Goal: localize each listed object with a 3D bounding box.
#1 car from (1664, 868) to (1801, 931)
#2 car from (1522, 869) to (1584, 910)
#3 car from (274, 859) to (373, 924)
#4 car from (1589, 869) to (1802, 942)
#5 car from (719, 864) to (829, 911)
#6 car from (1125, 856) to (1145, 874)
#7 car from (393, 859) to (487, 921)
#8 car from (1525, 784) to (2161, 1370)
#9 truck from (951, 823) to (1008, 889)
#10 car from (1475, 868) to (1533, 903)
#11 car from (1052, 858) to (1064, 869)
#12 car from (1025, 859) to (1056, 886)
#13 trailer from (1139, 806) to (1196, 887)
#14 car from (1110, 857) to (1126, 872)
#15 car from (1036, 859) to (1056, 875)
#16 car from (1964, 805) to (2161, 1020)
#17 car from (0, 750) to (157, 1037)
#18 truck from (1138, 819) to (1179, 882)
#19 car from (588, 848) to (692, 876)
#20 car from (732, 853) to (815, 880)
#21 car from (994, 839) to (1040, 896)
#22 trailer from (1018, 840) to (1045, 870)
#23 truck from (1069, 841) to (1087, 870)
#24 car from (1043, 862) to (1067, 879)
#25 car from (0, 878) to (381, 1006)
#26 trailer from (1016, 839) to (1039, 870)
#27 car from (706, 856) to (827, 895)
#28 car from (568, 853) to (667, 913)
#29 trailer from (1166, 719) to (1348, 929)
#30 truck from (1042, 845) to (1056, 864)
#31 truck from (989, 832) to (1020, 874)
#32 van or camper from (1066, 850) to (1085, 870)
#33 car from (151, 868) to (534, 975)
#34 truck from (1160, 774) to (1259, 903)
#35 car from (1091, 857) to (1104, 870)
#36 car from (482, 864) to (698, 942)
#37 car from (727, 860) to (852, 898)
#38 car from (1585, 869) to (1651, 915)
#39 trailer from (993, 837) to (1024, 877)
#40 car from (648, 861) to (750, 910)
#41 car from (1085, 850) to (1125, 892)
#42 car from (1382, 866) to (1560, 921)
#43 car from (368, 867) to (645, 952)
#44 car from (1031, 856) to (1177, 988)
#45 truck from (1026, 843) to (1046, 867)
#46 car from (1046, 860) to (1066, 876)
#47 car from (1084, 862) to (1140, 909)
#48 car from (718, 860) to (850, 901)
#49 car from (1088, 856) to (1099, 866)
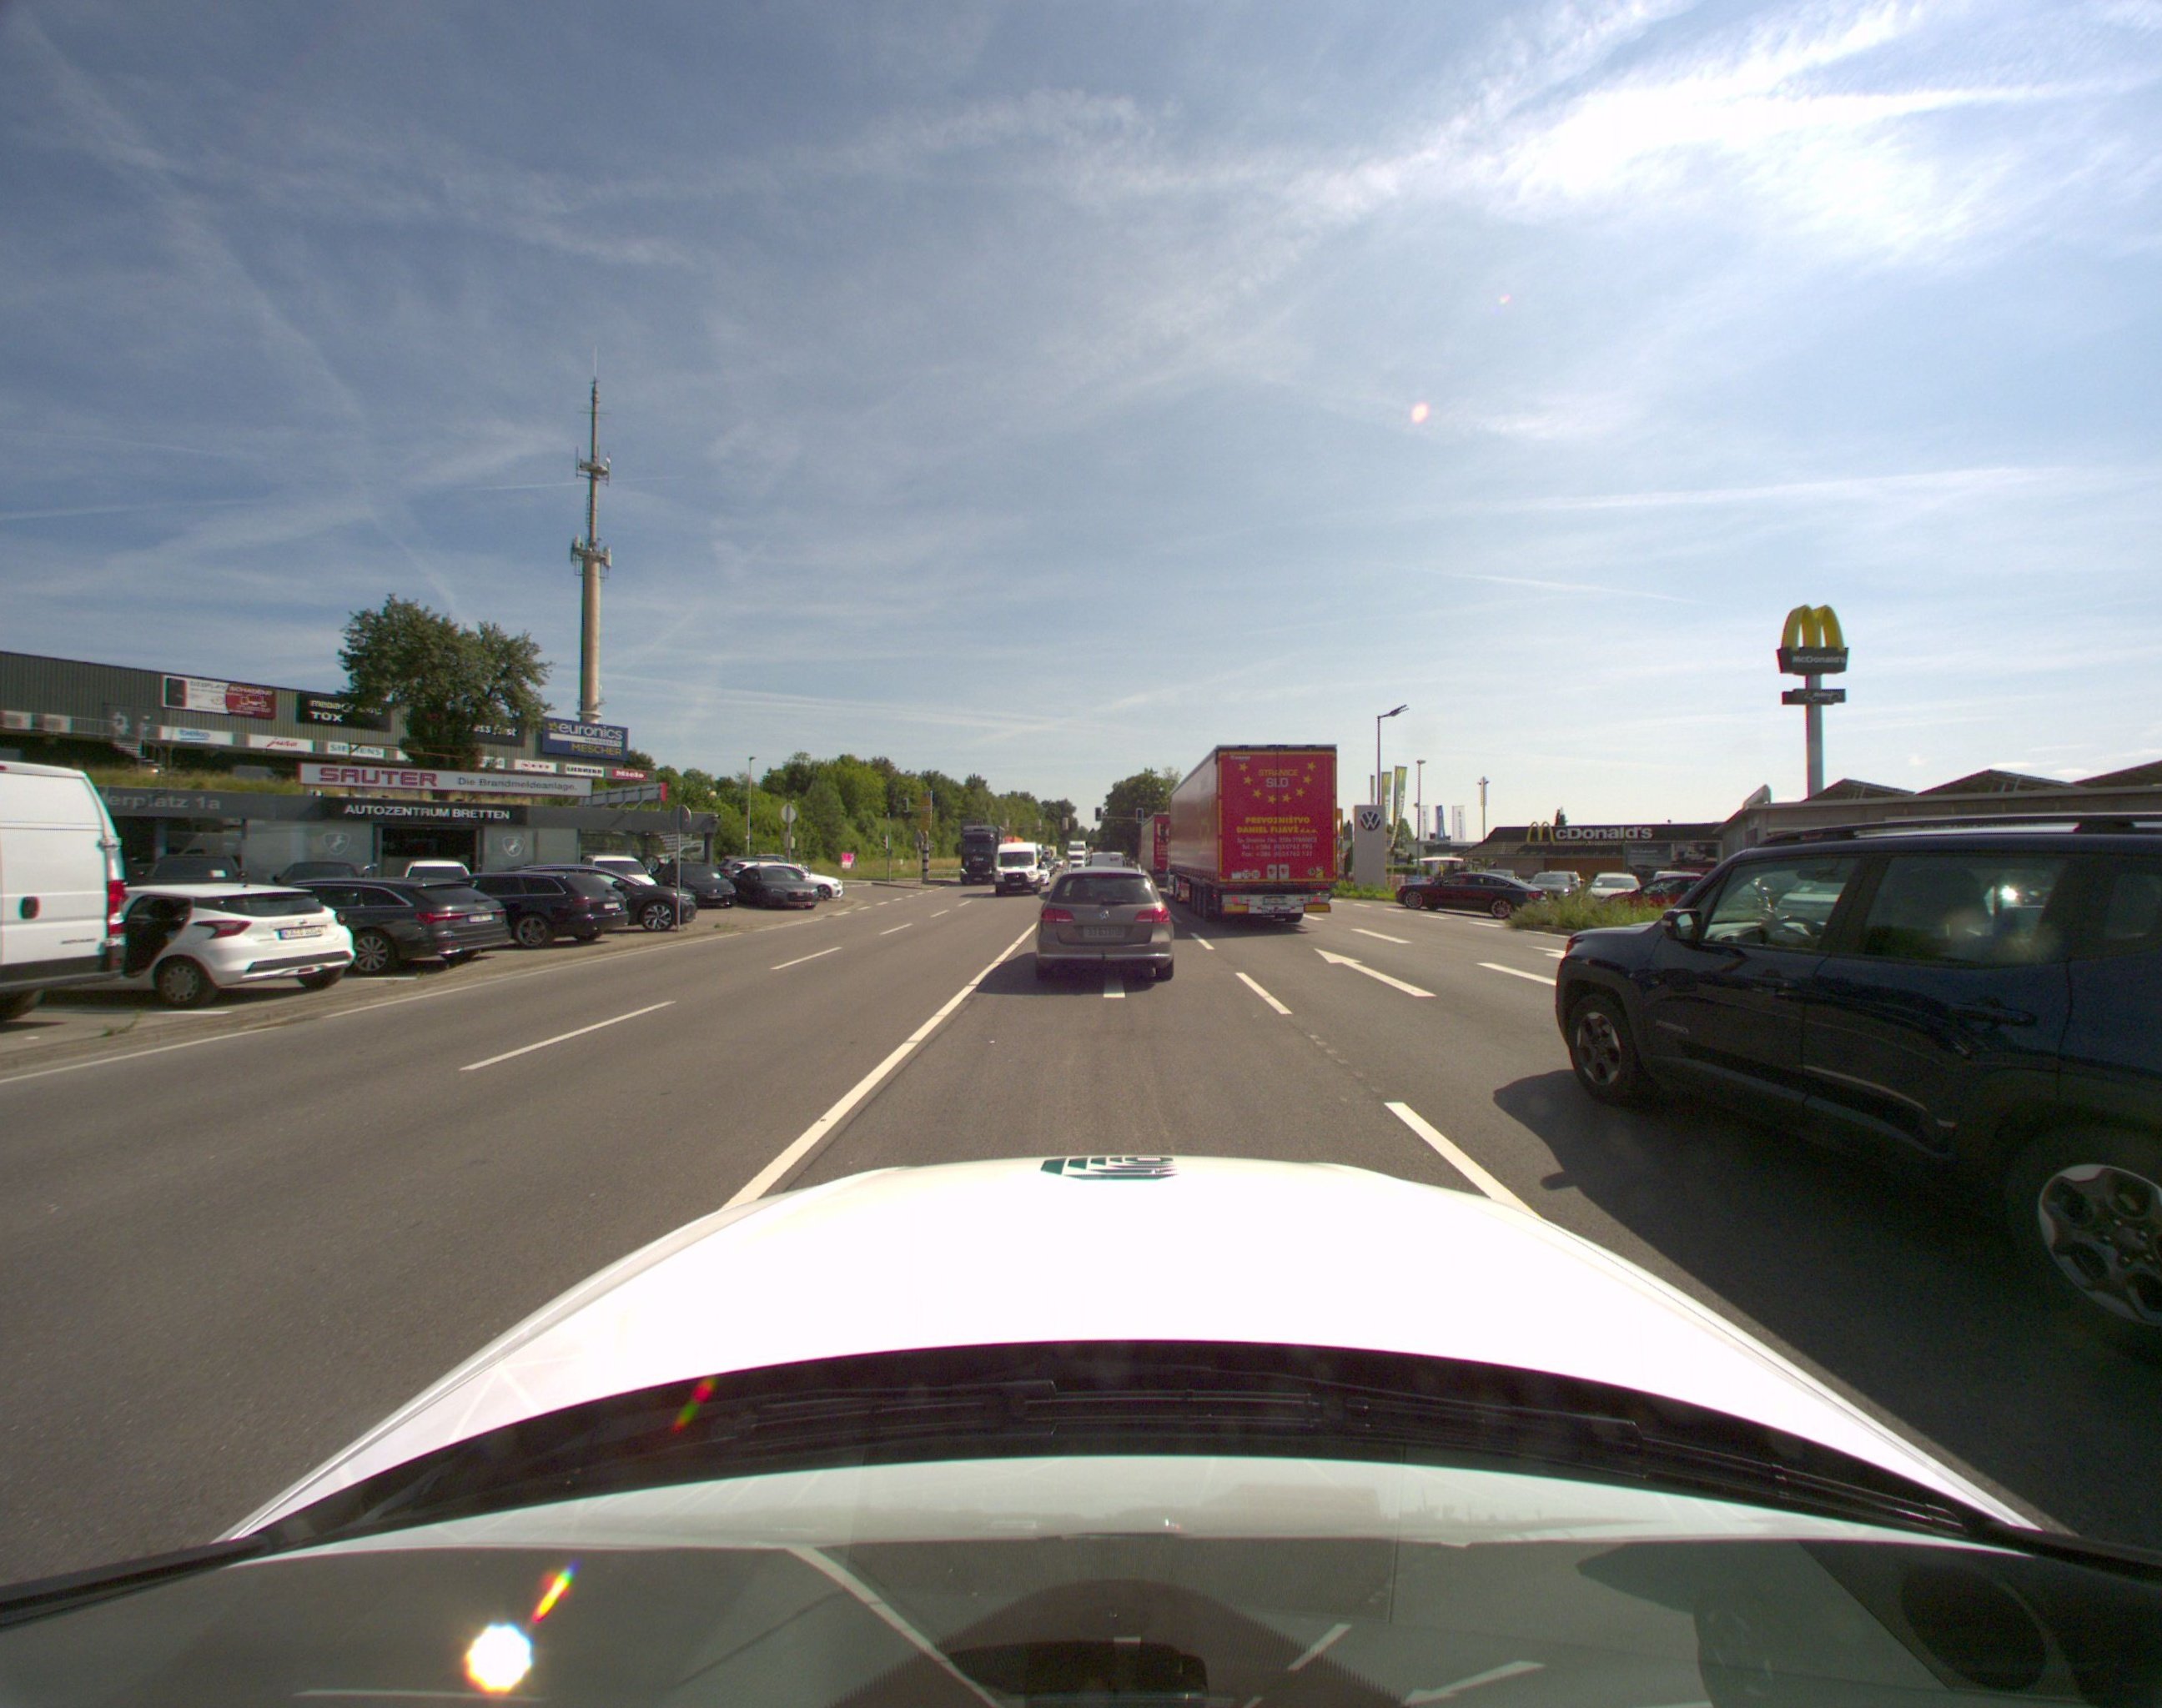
[{"bbox_3d":[19.247,1.269,24.050,4.036,1.671,1.759,0,-1,-29],"label":"car"},{"bbox_3d":[20.041,1.452,34.483,1.753,1.532,4.116,-1,-1,37],"label":"car"},{"bbox_3d":[-20.588,0.943,22.227,1.826,1.524,4.293,1,0,-42],"label":"car"},{"bbox_3d":[15.654,1.244,21.010,1.778,1.654,4.044,2,-2,-24],"label":"car"},{"bbox_3d":[-11.189,1.153,29.513,4.584,1.436,1.985,1,0,45],"label":"car"},{"bbox_3d":[6.338,1.278,95.792,1.987,2.014,3.998,-1,-1,-1],"label":"car"},{"bbox_3d":[-18.591,0.971,23.544,1.837,1.524,4.094,1,0,-42],"label":"car"},{"bbox_3d":[3.971,0.631,3.741,1.764,1.654,4.001,-1,-1,2],"label":"car"},{"bbox_3d":[-6.673,0.177,54.936,2.703,3.998,9.971,-1,-1,-1],"label":"truck"},{"bbox_3d":[20.978,1.513,40.308,1.837,1.576,4.260,-1,-1,37],"label":"car"},{"bbox_3d":[-3.840,1.486,134.305,1.837,1.732,4.587,1,0,-1],"label":"car"},{"bbox_3d":[-2.498,1.148,50.969,1.648,1.555,4.000,-2,-1,0],"label":"car"},{"bbox_3d":[5.030,-0.357,49.669,2.386,4.243,13.081,-1,0,2],"label":"trailer"},{"bbox_3d":[5.073,1.402,113.137,1.987,2.014,3.998,-1,-1,-1],"label":"car"},{"bbox_3d":[-3.753,1.371,87.094,1.902,1.602,4.587,-2,0,-1],"label":"car"},{"bbox_3d":[12.783,0.597,9.890,4.360,2.213,1.747,0,-1,-28],"label":"car"},{"bbox_3d":[-13.513,0.420,8.402,5.684,2.838,2.118,-1,0,3],"label":"car"},{"bbox_3d":[5.225,-0.213,55.968,2.397,4.128,5.522,-1,-1,1],"label":"truck"},{"bbox_3d":[-25.833,0.519,47.869,5.001,1.419,1.926,4,-3,-43],"label":"car"},{"bbox_3d":[-20.078,0.815,53.318,4.661,1.527,1.892,4,-2,-43],"label":"car"},{"bbox_3d":[-3.032,0.626,39.896,2.054,2.510,7.106,-1,-1,-3],"label":"car"},{"bbox_3d":[-7.186,0.163,120.434,2.682,4.148,13.882,-1,0,1],"label":"trailer"},{"bbox_3d":[-0.509,0.278,120.299,2.530,4.088,6.262,-1,-1,-1],"label":"truck"},{"bbox_3d":[-2.331,1.481,74.010,1.705,1.443,4.381,-2,-1,2],"label":"car"},{"bbox_3d":[-12.000,1.097,10.732,3.970,1.470,1.883,-1,-1,3],"label":"car"},{"bbox_3d":[-7.374,0.101,113.021,2.635,4.105,6.183,-1,-1,2],"label":"trailer"},{"bbox_3d":[-14.448,1.025,37.559,4.821,1.626,1.909,4,-3,-40],"label":"car"},{"bbox_3d":[-15.339,0.881,26.860,1.903,1.749,4.416,1,0,-42],"label":"car"},{"bbox_3d":[4.401,-0.581,23.755,2.828,4.365,13.172,1,0,2],"label":"trailer"},{"bbox_3d":[-6.992,0.183,180.741,2.721,3.999,9.616,-1,-1,-1],"label":"truck"},{"bbox_3d":[-7.603,-0.071,81.769,2.714,3.998,6.052,-1,-1,-2],"label":"truck"},{"bbox_3d":[-0.696,0.780,106.667,2.323,2.600,6.978,-1,-1,0],"label":"van or camper"},{"bbox_3d":[-11.813,1.036,13.287,4.353,1.530,2.029,-1,-1,0],"label":"car"},{"bbox_3d":[4.623,-0.511,30.340,2.859,4.281,5.841,1,-1,2],"label":"truck"},{"bbox_3d":[2.653,1.518,131.840,1.987,2.014,3.998,-1,-1,-1],"label":"car"},{"bbox_3d":[-11.434,1.067,19.355,4.191,1.623,2.013,0,-1,-26],"label":"car"},{"bbox_3d":[-12.789,1.117,35.887,4.738,1.513,1.933,4,-2,-39],"label":"car"},{"bbox_3d":[19.687,1.324,29.774,1.727,1.492,4.291,-1,-1,37],"label":"car"},{"bbox_3d":[-7.860,0.344,89.422,2.714,3.998,12.224,-1,-1,-2],"label":"trailer"},{"bbox_3d":[-13.400,1.043,28.448,4.291,1.487,1.809,1,0,44],"label":"car"},{"bbox_3d":[1.138,0.821,40.196,1.765,1.936,3.976,-1,-1,-1],"label":"car"},{"bbox_3d":[12.493,1.239,26.323,1.977,1.332,4.759,6,-2,-43],"label":"car"},{"bbox_3d":[-11.219,1.047,16.147,4.020,1.530,2.032,-1,-1,1],"label":"car"},{"bbox_3d":[0.250,0.810,11.500,1.686,1.513,3.998,-1,-1,-1],"label":"car"},{"bbox_3d":[-7.876,0.161,141.997,3.178,4.080,6.343,-1,-1,-1],"label":"truck"},{"bbox_3d":[-2.746,1.526,90.040,1.854,1.524,4.590,-2,0,1],"label":"car"},{"bbox_3d":[1.024,1.040,28.684,1.765,1.513,3.998,-1,-1,-1],"label":"car"},{"bbox_3d":[-12.118,1.102,33.354,4.732,1.475,1.874,3,-2,-32],"label":"car"},{"bbox_3d":[2.378,1.348,159.167,1.987,2.014,3.998,-1,-1,-1],"label":"car"}]
